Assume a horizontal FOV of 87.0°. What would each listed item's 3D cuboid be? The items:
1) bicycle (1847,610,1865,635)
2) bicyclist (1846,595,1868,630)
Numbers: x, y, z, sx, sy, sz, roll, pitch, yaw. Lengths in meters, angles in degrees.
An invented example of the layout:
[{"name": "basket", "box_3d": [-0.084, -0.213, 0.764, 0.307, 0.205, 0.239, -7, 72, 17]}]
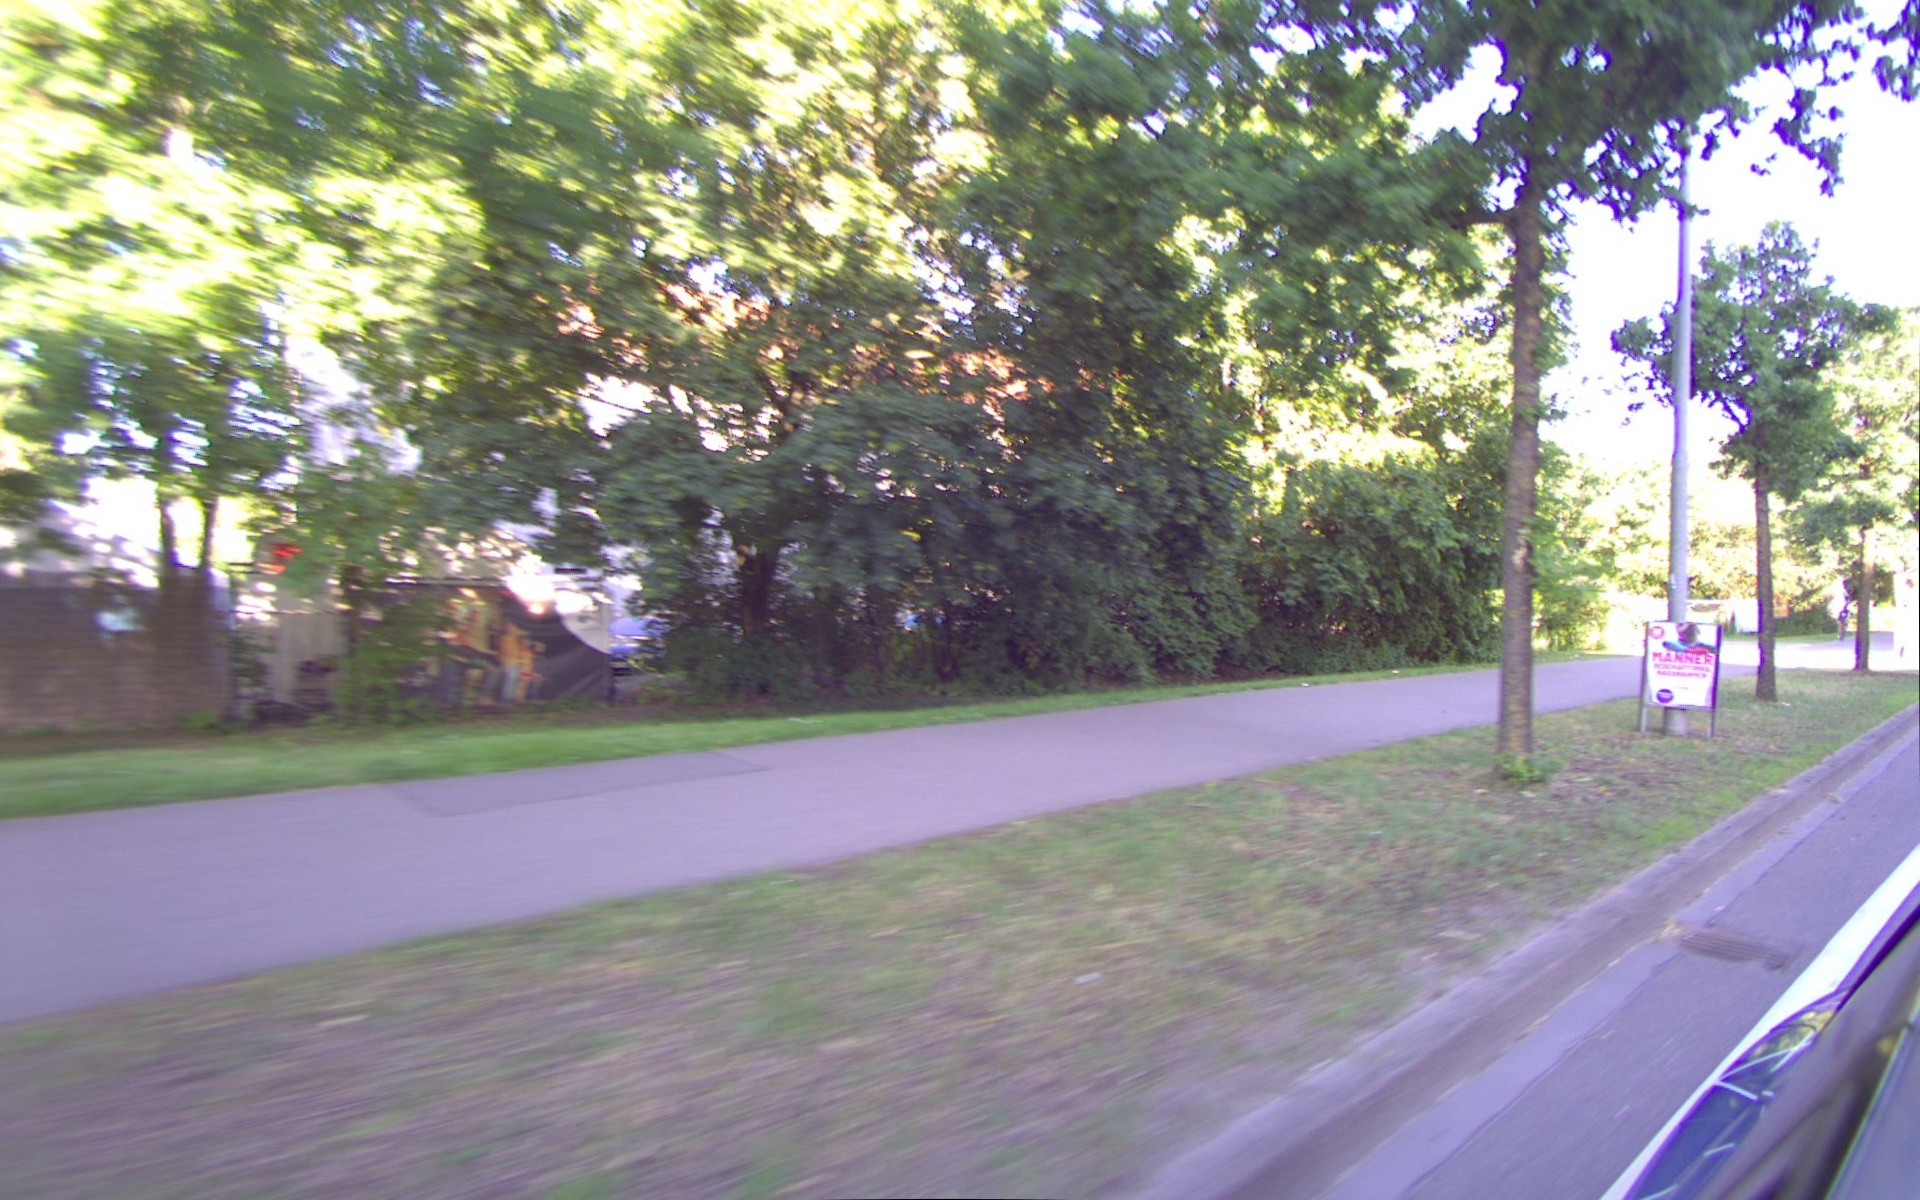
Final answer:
[{"name": "bicycle", "box_3d": [41.353, 1.015, 46.712, 0.516, 1.086, 1.905, 1, 1, 45]}, {"name": "bicyclist", "box_3d": [41.360, 0.569, 46.672, 1.019, 1.541, 0.685, 0, 1, -45]}]
